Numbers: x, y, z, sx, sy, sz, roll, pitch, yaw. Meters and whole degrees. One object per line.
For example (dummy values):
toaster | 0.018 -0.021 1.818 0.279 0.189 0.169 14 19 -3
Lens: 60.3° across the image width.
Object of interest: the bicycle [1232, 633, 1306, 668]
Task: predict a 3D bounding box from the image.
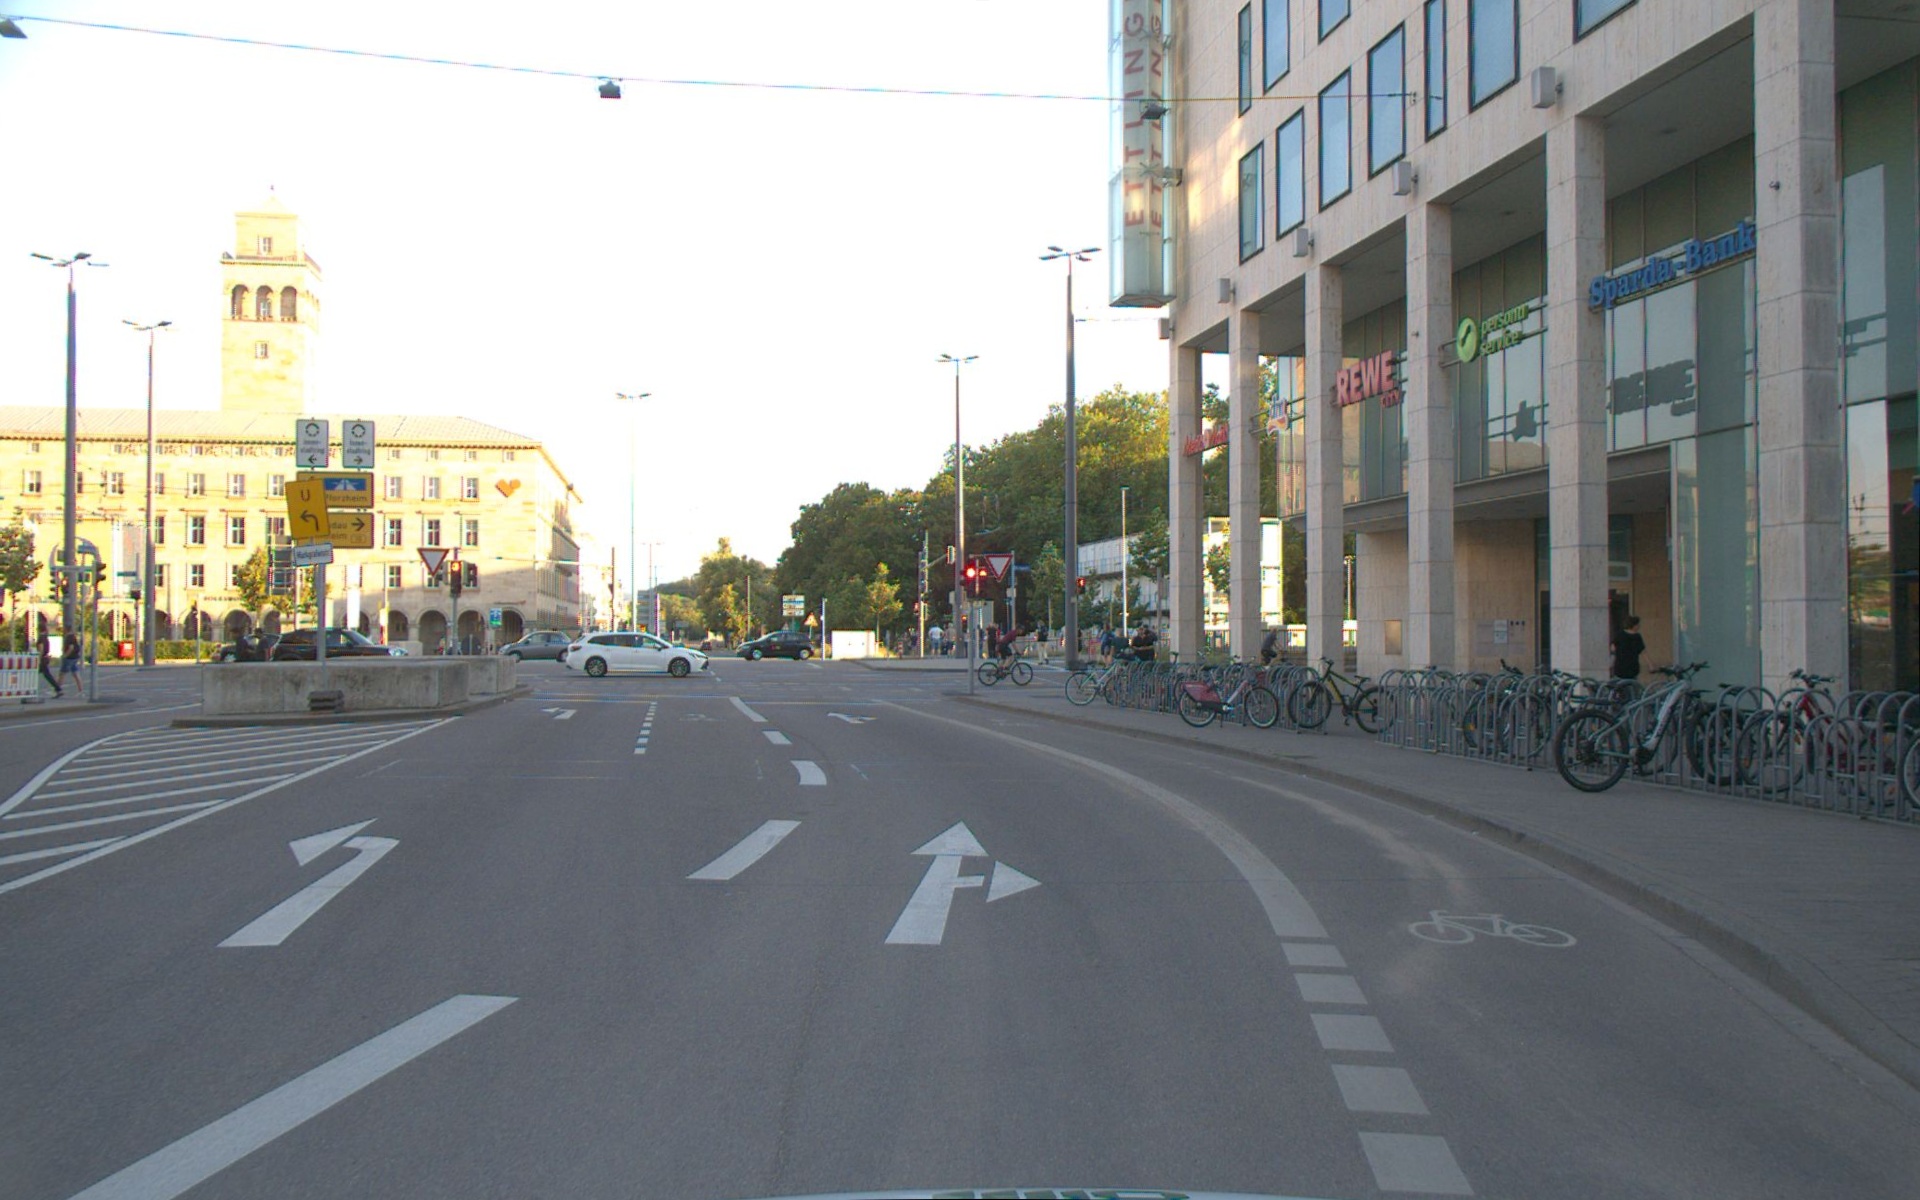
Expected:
bicycle | 9.766 1.598 52.305 2.201 1.081 0.652 0 -1 -10

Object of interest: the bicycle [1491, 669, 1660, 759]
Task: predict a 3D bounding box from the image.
bicycle | 6.894 1.269 18.533 1.776 0.953 0.515 0 -1 -12

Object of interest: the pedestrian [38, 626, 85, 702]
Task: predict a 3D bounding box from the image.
pedestrian | -22.072 1.554 40.651 0.725 1.808 0.860 -3 -1 -13

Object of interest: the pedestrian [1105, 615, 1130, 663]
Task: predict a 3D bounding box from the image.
pedestrian | 5.841 1.439 61.314 0.874 1.760 0.688 0 -1 2

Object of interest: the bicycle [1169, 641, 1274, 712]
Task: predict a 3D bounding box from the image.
bicycle | 4.949 1.451 31.346 1.834 1.282 0.671 2 -2 -12

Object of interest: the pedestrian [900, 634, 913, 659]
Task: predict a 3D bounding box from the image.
pedestrian | -3.754 3.249 116.030 0.794 1.760 0.926 0 -1 -11

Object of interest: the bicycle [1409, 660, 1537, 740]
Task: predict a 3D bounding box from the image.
bicycle | 7.062 1.362 22.787 1.678 1.041 0.597 0 -1 -21

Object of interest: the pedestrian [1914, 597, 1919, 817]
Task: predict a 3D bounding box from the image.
pedestrian | 8.135 0.851 12.948 0.819 1.766 0.819 0 -1 -3

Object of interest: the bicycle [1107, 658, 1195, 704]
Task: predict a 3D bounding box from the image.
bicycle | 4.143 1.756 35.888 1.834 0.953 0.515 0 -1 -12

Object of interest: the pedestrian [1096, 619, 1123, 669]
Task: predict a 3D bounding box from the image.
pedestrian | 5.273 1.551 58.341 0.874 1.760 0.688 0 -1 2

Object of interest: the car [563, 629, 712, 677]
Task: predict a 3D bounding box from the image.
car | -10.552 1.723 54.332 4.710 1.522 2.122 0 -1 -11

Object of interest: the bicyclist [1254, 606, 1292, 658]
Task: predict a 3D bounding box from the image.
bicyclist | 9.916 1.012 52.350 1.001 1.650 0.652 0 -1 -10

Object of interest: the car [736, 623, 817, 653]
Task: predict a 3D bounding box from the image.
car | -9.453 1.962 85.167 3.920 1.478 1.535 0 -1 -22

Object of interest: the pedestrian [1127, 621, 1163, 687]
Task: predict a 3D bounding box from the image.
pedestrian | 5.209 1.519 46.554 0.742 1.808 0.739 -3 -1 -9

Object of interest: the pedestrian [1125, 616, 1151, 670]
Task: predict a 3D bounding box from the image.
pedestrian | 6.273 1.517 58.285 0.874 1.872 0.688 0 -1 2

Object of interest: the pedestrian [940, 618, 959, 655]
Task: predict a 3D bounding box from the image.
pedestrian | -0.506 1.784 80.646 0.795 1.760 0.685 0 -1 -17

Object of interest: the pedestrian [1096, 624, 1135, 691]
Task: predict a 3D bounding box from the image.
pedestrian | 4.367 1.603 46.504 0.845 1.808 0.739 -3 -1 -9

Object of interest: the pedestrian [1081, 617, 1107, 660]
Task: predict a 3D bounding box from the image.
pedestrian | 5.499 1.561 67.749 0.825 1.760 0.682 0 -1 -26

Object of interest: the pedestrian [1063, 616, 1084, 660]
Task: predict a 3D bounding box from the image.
pedestrian | 4.613 1.547 67.025 0.818 1.760 0.688 0 -1 6

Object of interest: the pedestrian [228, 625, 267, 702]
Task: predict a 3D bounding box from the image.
pedestrian | -16.980 1.512 39.424 0.731 1.808 0.854 1 -2 -31

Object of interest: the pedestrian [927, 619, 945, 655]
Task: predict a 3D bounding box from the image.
pedestrian | -1.165 1.787 80.374 0.794 1.760 0.686 0 -1 -12

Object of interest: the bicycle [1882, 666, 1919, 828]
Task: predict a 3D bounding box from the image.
bicycle | 8.136 1.101 12.632 1.949 1.200 0.516 0 -1 -5

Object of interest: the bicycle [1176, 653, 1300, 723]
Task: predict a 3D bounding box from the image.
bicycle | 4.423 1.398 26.395 1.861 1.066 0.570 0 -1 -5

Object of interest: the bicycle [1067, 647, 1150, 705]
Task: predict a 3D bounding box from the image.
bicycle | 3.243 1.655 36.122 1.779 1.234 0.571 0 -1 6

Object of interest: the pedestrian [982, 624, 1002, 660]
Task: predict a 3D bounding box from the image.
pedestrian | 1.565 2.077 81.163 0.798 1.760 0.682 0 -1 -25

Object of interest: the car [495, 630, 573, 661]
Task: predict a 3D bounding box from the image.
car | -20.745 2.211 80.587 3.654 1.478 1.539 0 -1 -17

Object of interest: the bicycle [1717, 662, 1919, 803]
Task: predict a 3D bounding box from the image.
bicycle | 7.758 1.163 14.561 1.949 1.149 0.555 2 -1 -5

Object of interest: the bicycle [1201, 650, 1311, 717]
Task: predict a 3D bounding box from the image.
bicycle | 5.286 1.493 29.602 1.835 1.133 0.569 2 -2 -7

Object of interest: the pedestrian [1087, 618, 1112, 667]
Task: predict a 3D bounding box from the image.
pedestrian | 5.055 1.530 59.975 0.874 1.760 0.688 0 -1 3

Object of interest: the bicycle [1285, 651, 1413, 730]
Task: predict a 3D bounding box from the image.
bicycle | 5.928 1.371 25.256 1.780 1.119 0.600 2 -1 -3

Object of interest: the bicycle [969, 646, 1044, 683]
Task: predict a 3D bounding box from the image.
bicycle | 1.428 1.965 50.463 2.202 1.081 0.652 0 -1 -11

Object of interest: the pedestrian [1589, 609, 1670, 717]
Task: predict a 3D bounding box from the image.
pedestrian | 11.552 1.070 28.561 0.845 1.808 0.988 -1 -1 -11

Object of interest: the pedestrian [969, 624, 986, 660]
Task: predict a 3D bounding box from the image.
pedestrian | 0.846 2.052 80.922 0.791 1.760 0.688 0 -1 2

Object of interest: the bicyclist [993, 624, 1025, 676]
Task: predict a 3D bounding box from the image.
bicyclist | 1.496 1.511 50.484 0.863 1.558 0.652 0 -1 -11

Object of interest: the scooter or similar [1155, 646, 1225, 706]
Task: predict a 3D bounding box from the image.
scooter or similar | 4.595 1.520 33.075 1.253 1.180 0.672 1 -1 -11

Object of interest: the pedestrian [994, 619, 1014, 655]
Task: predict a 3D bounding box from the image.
pedestrian | 2.173 1.816 81.863 0.797 1.760 0.683 0 -1 -24

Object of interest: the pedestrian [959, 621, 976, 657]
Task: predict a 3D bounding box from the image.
pedestrian | 0.382 1.941 81.746 0.791 1.760 0.688 0 -1 2

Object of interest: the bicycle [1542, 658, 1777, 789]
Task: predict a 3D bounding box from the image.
bicycle | 6.421 1.118 15.218 1.949 1.149 0.570 0 -1 -5

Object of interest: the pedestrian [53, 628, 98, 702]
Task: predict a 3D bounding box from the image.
pedestrian | -22.361 1.627 41.811 0.725 1.808 0.860 -3 -1 -13

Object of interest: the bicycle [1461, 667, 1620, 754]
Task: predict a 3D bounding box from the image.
bicycle | 6.717 1.273 19.145 1.707 0.953 0.515 0 -1 -12

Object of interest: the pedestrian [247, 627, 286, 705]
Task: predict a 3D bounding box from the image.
pedestrian | -16.321 1.539 38.915 0.731 1.808 0.854 0 -1 -32

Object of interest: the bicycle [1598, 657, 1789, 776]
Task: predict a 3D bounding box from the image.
bicycle | 7.363 1.157 16.617 1.731 1.149 0.515 0 -1 -7

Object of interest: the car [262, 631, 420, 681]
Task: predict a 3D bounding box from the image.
car | -19.683 1.770 52.768 4.380 1.522 2.122 0 -1 -11

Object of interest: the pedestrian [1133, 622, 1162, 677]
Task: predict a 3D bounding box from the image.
pedestrian | 6.300 1.662 55.726 0.875 1.863 0.687 0 -1 -2

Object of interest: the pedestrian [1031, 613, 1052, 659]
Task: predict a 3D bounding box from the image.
pedestrian | 3.178 1.393 64.257 0.679 1.760 0.740 0 -1 -8

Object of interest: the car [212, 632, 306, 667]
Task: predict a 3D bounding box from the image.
car | -32.301 2.271 76.223 3.937 1.520 1.814 0 -1 -25
